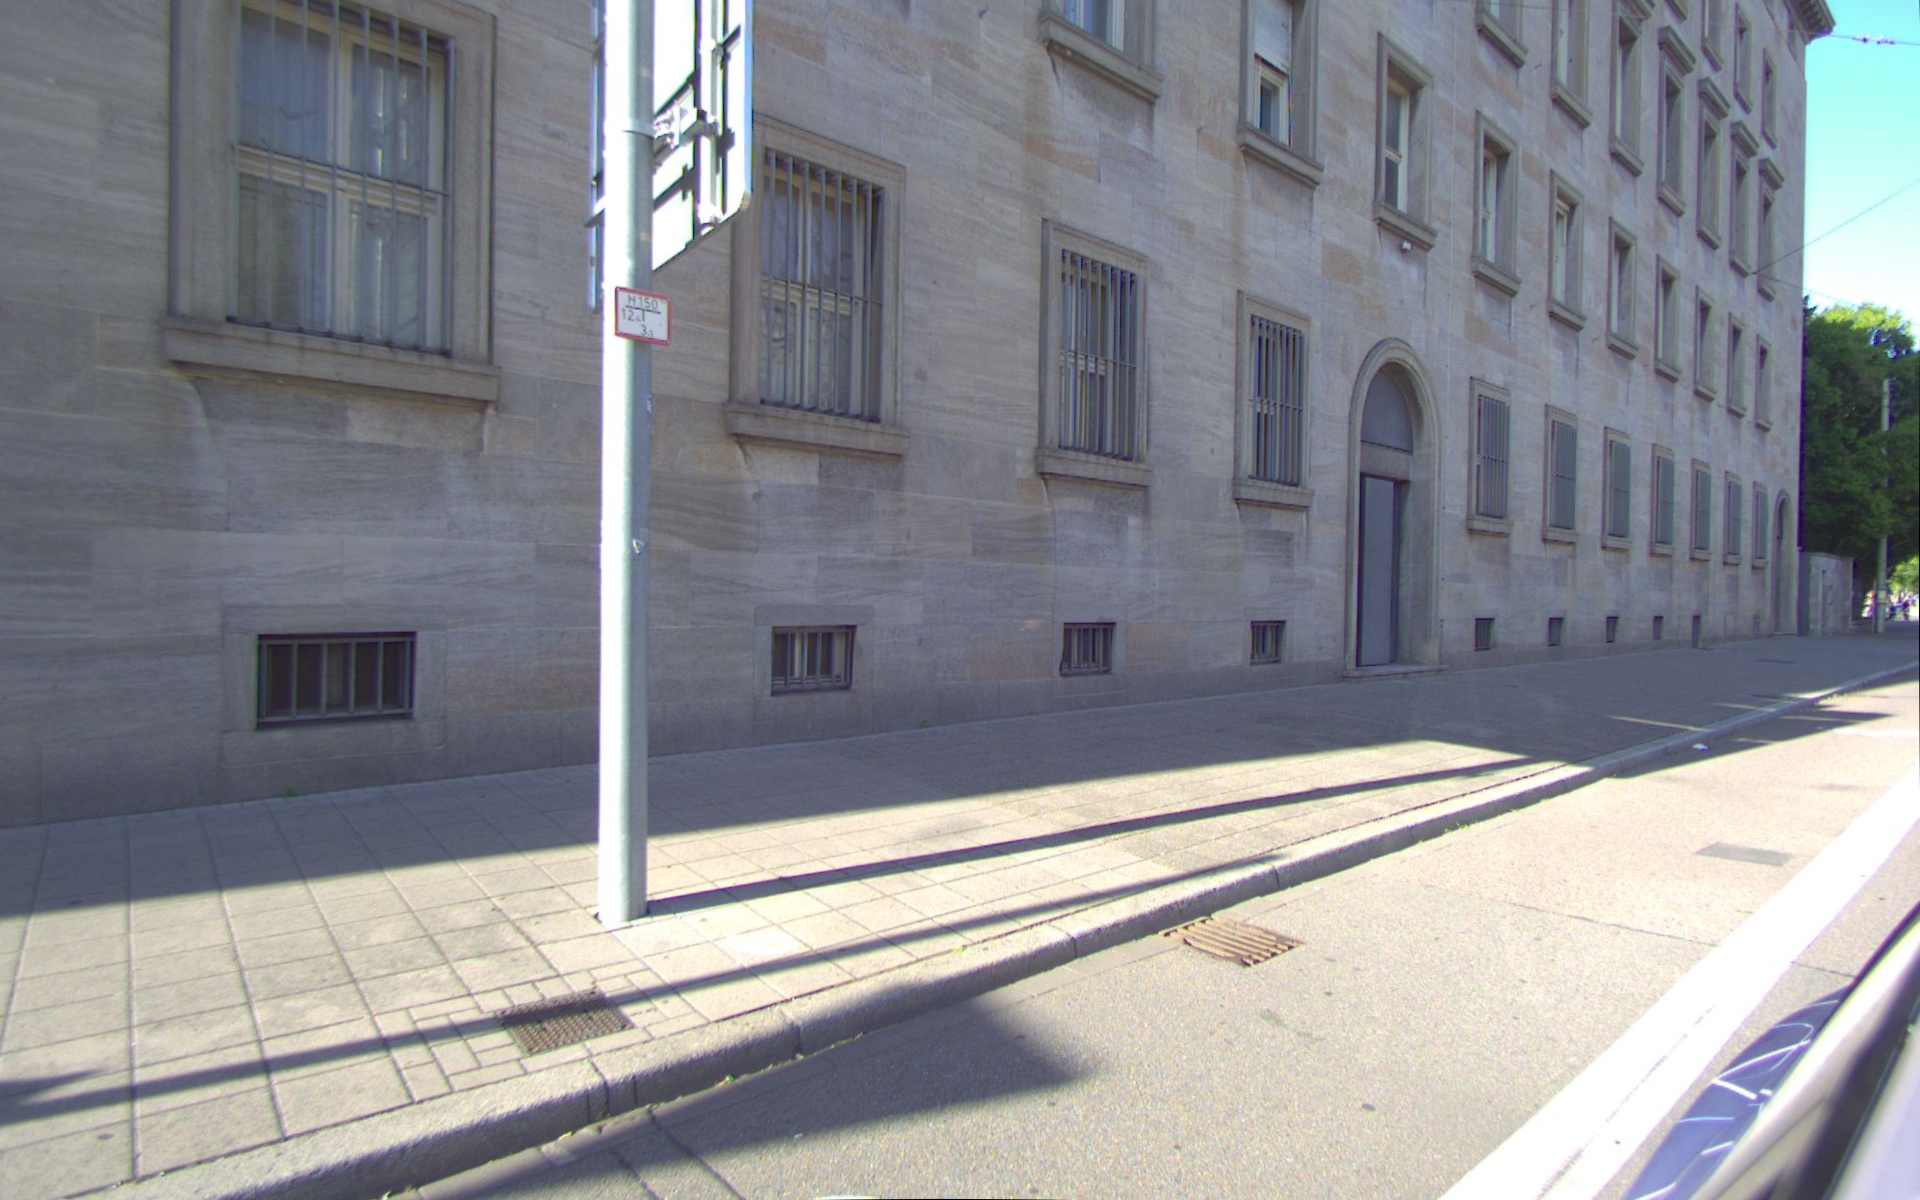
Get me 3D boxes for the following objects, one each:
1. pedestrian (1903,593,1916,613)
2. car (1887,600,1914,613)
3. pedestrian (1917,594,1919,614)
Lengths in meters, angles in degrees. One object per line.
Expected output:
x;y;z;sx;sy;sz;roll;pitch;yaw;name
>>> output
84.512;0.263;90.077;0.828;1.742;0.792;1;1;43;pedestrian
125.178;0.835;134.728;1.863;1.621;4.376;2;1;32;car
85.000;0.379;89.231;0.791;1.742;0.870;0;1;-44;pedestrian
